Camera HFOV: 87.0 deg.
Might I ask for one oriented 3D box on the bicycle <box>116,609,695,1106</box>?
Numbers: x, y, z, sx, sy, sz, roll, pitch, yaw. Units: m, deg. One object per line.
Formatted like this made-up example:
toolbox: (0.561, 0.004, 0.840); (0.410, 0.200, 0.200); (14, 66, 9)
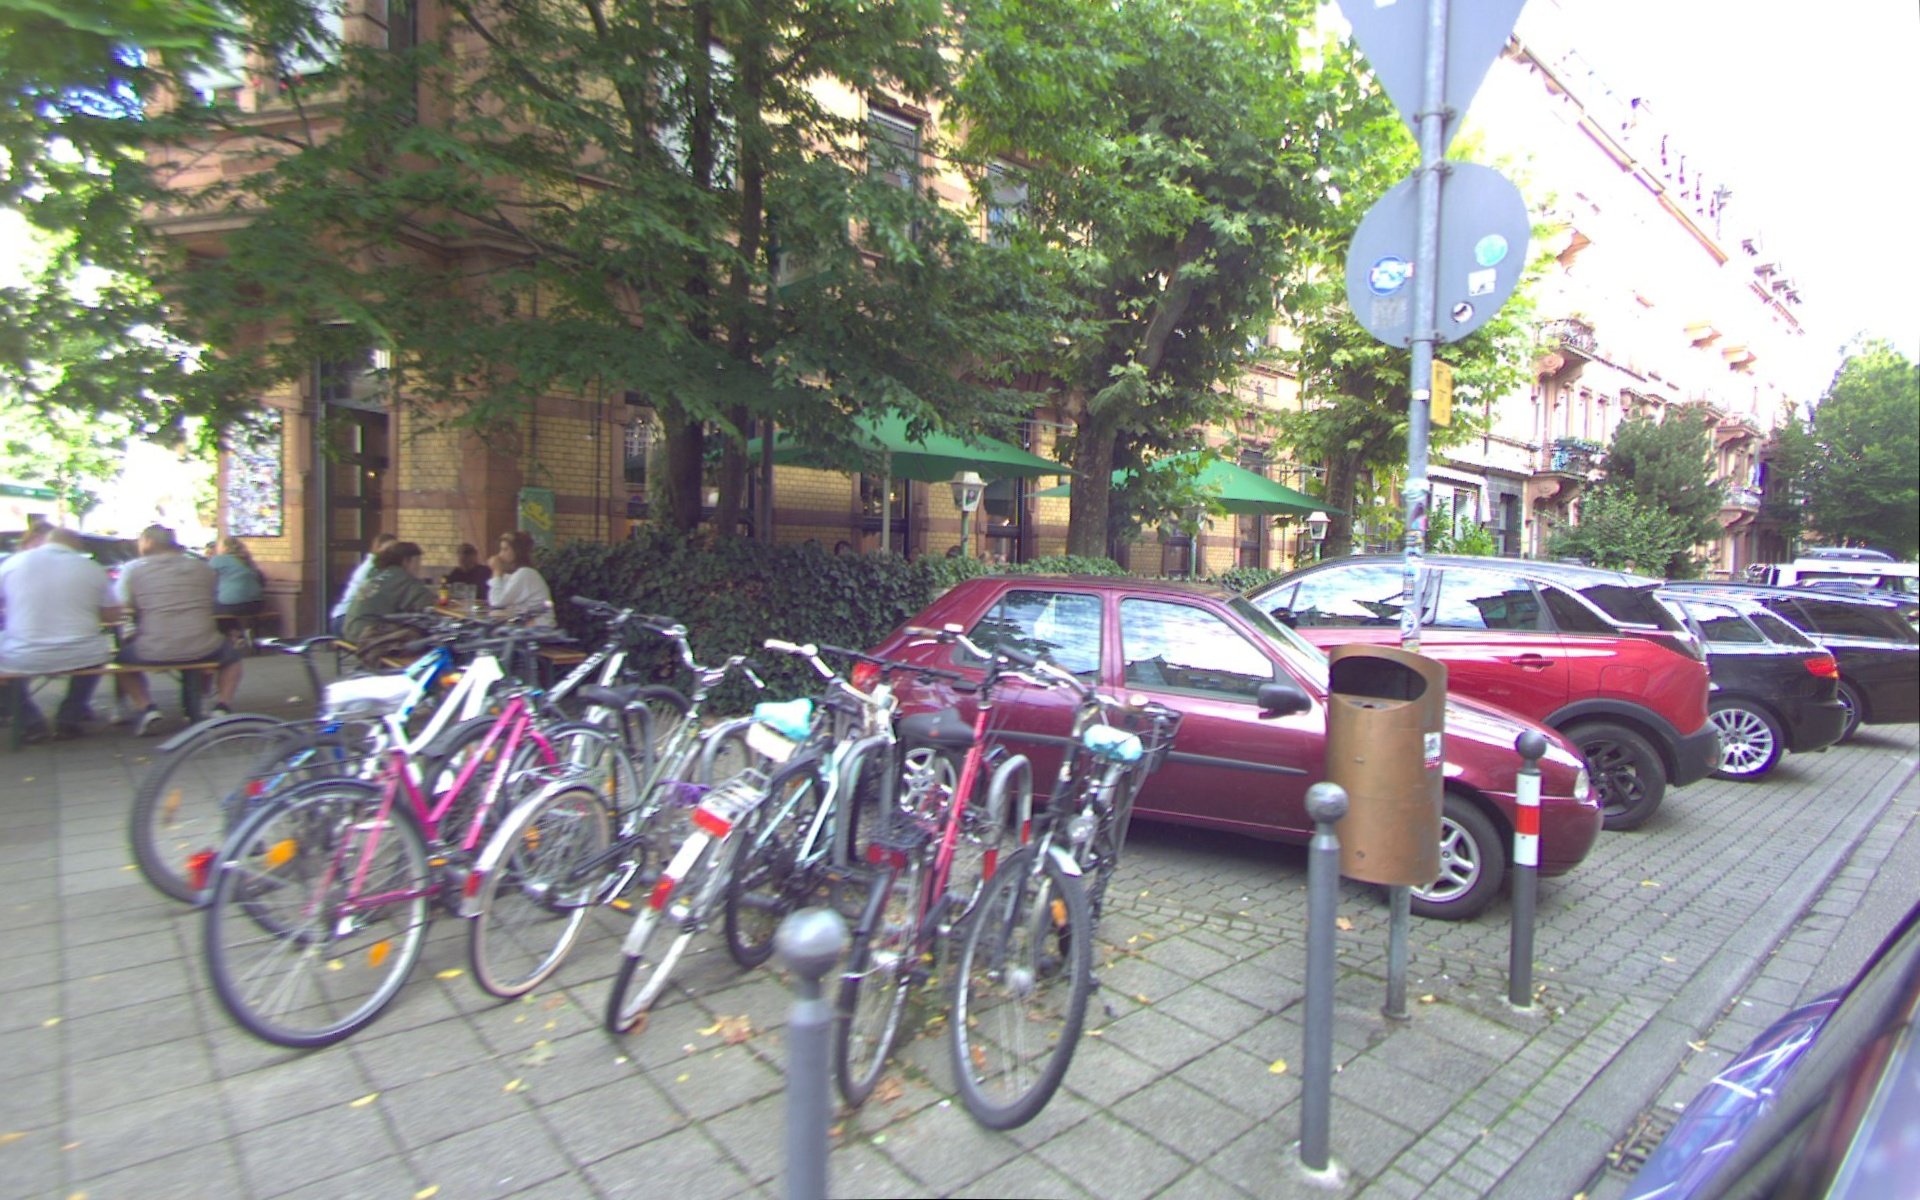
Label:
bicycle: (-1.613, 0.627, 3.364); (0.385, 1.052, 1.910); (5, 4, 19)

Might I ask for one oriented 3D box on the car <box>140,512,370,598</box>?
car: (-17.518, -1.106, 25.399); (4.332, 1.973, 2.005); (1, 2, -18)

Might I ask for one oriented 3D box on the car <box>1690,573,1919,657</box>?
car: (17.483, 0.284, 20.485); (3.927, 1.477, 1.748); (3, 2, 8)

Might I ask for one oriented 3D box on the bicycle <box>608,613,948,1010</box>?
bicycle: (-0.574, 0.643, 3.911); (0.344, 1.052, 1.845); (5, 4, 21)

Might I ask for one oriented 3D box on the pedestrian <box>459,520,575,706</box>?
pedestrian: (-3.453, 0.082, 7.887); (0.670, 1.368, 0.619); (3, 2, 44)

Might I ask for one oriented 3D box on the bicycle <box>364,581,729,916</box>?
bicycle: (-1.657, 0.498, 4.389); (0.350, 1.086, 1.788); (5, 4, 19)

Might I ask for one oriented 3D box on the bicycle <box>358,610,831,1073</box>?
bicycle: (-1.098, 0.632, 3.548); (0.439, 1.052, 1.895); (5, 4, 19)

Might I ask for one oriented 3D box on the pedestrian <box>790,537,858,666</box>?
pedestrian: (-1.733, 0.006, 12.861); (0.628, 1.589, 0.561); (3, 2, 45)

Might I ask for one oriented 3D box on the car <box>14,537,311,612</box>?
car: (-16.044, -0.511, 20.664); (4.332, 1.388, 2.005); (1, 2, -18)

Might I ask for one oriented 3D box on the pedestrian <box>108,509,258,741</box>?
pedestrian: (-5.170, 0.136, 6.730); (0.797, 1.424, 0.691); (3, 2, 45)

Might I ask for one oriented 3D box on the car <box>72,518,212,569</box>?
car: (-32.769, -2.215, 40.622); (1.990, 1.859, 4.062); (0, 1, 39)

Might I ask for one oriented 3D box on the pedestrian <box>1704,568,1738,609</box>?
pedestrian: (29.383, -0.460, 39.069); (0.927, 1.515, 0.800); (4, 3, 42)

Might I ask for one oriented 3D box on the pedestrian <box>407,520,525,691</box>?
pedestrian: (-4.346, 0.027, 8.907); (0.673, 1.424, 0.746); (3, 2, 45)

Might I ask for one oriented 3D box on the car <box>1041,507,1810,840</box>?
car: (2.934, 0.304, 7.209); (4.307, 1.665, 1.808); (4, 3, 23)

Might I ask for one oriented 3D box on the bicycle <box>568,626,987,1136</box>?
bicycle: (-0.437, 0.695, 3.385); (0.344, 1.052, 2.005); (5, 4, 21)

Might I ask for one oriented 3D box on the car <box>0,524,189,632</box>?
car: (-14.842, -0.365, 15.547); (4.332, 1.571, 2.005); (1, 2, -18)

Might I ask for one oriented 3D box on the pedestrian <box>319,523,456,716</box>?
pedestrian: (-4.347, 0.122, 7.682); (0.672, 1.375, 0.746); (3, 2, 44)

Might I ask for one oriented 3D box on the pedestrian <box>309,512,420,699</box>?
pedestrian: (-4.780, 0.027, 8.127); (0.572, 1.424, 0.628); (3, 2, 41)

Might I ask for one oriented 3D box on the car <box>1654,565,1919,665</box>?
car: (15.653, 0.267, 18.494); (4.396, 1.495, 1.885); (4, 2, 9)

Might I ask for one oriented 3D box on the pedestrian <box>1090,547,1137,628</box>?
pedestrian: (2.442, -0.208, 16.122); (0.464, 1.233, 0.556); (5, 4, 39)

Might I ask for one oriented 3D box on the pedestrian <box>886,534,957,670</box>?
pedestrian: (-0.492, 0.014, 12.954); (0.646, 1.662, 0.554); (6, 5, 44)

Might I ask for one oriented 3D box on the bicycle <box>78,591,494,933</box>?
bicycle: (-2.515, 0.513, 3.953); (0.445, 1.053, 1.378); (2, 2, 18)

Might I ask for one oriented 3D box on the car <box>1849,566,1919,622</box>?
car: (34.736, -0.155, 35.872); (4.345, 1.844, 1.746); (3, 3, 17)

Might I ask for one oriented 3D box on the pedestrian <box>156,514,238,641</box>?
pedestrian: (-9.864, -0.291, 13.099); (0.629, 1.583, 0.702); (1, 2, -15)

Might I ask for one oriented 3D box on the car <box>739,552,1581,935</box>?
car: (0.936, 0.520, 5.564); (3.896, 1.475, 1.758); (2, 2, 21)

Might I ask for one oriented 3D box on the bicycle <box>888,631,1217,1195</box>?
bicycle: (0.411, 0.717, 3.160); (0.543, 1.052, 1.846); (5, 4, 19)

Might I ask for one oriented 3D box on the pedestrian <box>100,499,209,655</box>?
pedestrian: (-8.472, -0.246, 10.661); (0.594, 1.583, 0.691); (1, 2, 7)

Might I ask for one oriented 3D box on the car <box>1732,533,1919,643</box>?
car: (21.887, -0.288, 24.096); (5.088, 2.434, 1.909); (2, 2, 16)

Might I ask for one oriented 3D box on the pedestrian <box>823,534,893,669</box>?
pedestrian: (-1.245, 0.005, 12.354); (0.628, 1.589, 0.561); (3, 2, 45)

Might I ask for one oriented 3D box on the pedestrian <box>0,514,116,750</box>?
pedestrian: (-5.632, 0.169, 6.241); (0.757, 1.359, 0.587); (3, 2, 45)

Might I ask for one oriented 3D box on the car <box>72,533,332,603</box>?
car: (-17.082, -0.722, 23.085); (4.332, 1.433, 2.005); (1, 2, -18)

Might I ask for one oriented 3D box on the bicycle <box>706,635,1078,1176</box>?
bicycle: (-0.078, 0.733, 3.238); (0.455, 1.052, 1.846); (5, 4, 19)

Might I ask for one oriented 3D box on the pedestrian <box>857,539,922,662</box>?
pedestrian: (-0.940, -0.009, 13.437); (0.628, 1.589, 0.561); (3, 2, 45)

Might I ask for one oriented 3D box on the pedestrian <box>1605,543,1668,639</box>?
pedestrian: (13.859, -0.200, 20.737); (0.709, 1.901, 0.842); (0, 2, -37)

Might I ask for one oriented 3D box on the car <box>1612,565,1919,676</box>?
car: (13.563, 0.297, 16.550); (4.404, 1.482, 1.872); (4, 2, 14)

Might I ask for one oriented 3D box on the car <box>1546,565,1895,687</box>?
car: (11.109, 0.322, 15.061); (3.661, 1.503, 1.736); (3, 2, 11)

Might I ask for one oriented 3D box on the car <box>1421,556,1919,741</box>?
car: (7.621, 0.419, 10.769); (4.712, 1.474, 2.043); (4, 2, 21)

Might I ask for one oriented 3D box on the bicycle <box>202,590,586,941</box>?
bicycle: (-2.112, 0.527, 3.978); (0.332, 1.052, 1.448); (5, 4, 19)

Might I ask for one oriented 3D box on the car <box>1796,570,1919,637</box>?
car: (26.122, 0.102, 27.800); (4.392, 1.754, 1.992); (1, 1, 14)

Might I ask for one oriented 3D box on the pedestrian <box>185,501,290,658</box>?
pedestrian: (-7.600, -0.220, 10.668); (0.613, 1.583, 0.670); (1, 1, 5)

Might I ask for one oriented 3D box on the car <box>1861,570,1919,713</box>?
car: (13.414, 0.486, 12.360); (4.295, 1.674, 1.880); (0, 1, -22)

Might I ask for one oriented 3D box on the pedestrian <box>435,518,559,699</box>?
pedestrian: (-3.871, 0.049, 8.463); (0.673, 1.424, 0.746); (3, 2, 45)

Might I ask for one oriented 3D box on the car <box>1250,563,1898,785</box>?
car: (4.944, 0.463, 8.890); (4.368, 1.475, 1.927); (2, 2, 25)

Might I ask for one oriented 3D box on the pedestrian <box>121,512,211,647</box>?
pedestrian: (-9.590, -0.250, 12.238); (0.623, 1.583, 0.702); (1, 2, -14)

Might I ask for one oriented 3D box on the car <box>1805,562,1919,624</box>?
car: (30.771, -0.175, 33.018); (1.779, 1.806, 4.646); (2, 3, -42)

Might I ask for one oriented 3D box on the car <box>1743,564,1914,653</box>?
car: (19.234, 0.154, 22.516); (2.441, 1.687, 1.337); (5, 2, 23)

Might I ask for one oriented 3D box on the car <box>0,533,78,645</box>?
car: (-14.189, -0.193, 12.940); (3.915, 1.404, 2.005); (1, 2, -16)
